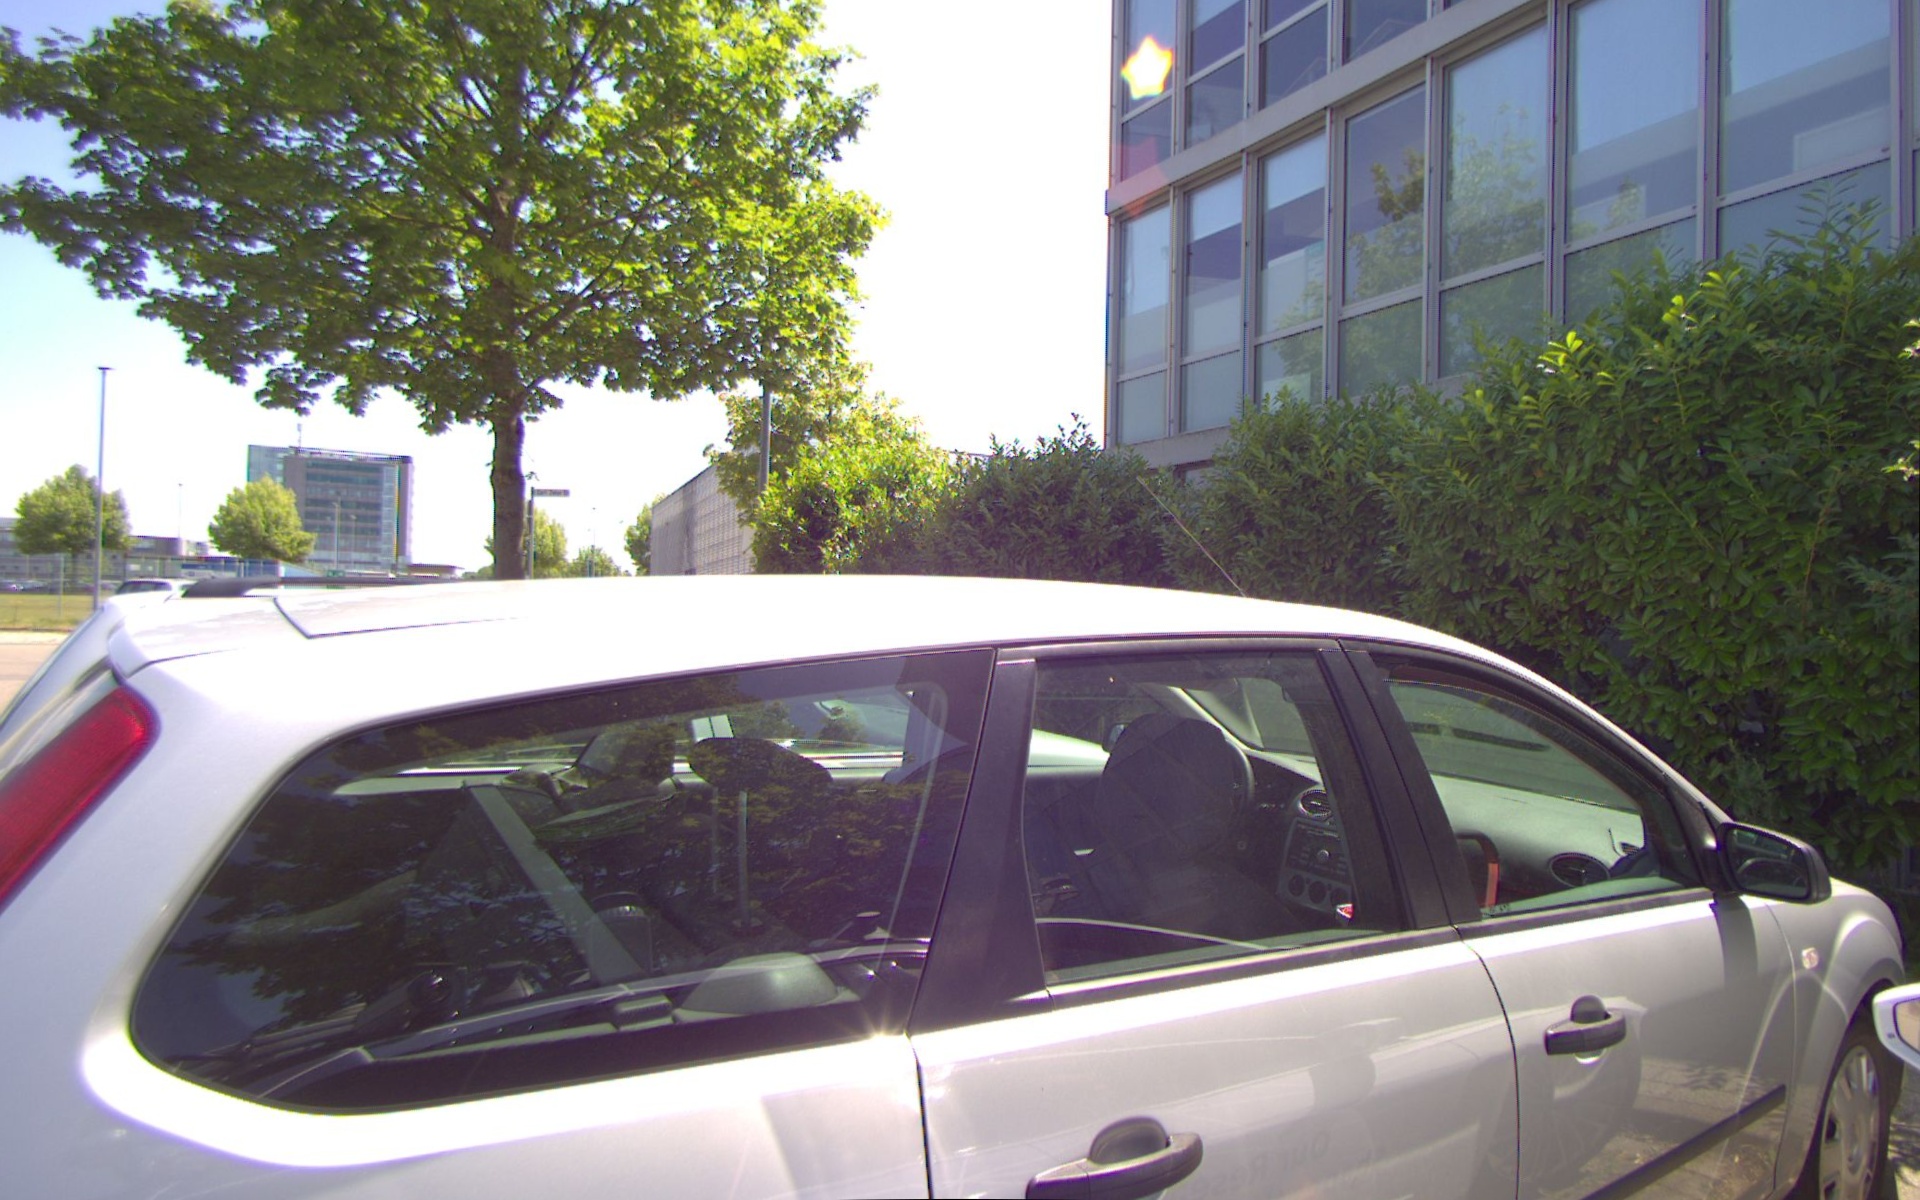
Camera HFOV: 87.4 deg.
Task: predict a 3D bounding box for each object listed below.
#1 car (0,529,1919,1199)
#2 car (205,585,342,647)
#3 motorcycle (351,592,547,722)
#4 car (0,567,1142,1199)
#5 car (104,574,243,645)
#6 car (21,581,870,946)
[{"bbox_3d":[0.346,0.737,2.127,4.299,1.499,1.710,1,0,-31],"label":"car"},{"bbox_3d":[-18.731,0.408,27.623,1.624,1.542,3.991,1,0,-11],"label":"car"},{"bbox_3d":[-5.869,0.628,11.604,1.969,1.408,0.480,1,0,-34],"label":"motorcycle"},{"bbox_3d":[-1.304,0.702,3.746,3.851,1.499,1.637,1,0,-34],"label":"car"},{"bbox_3d":[-21.152,0.237,27.209,1.745,1.761,3.982,1,0,-20],"label":"car"},{"bbox_3d":[-2.610,0.693,5.803,3.851,1.468,1.637,1,0,-34],"label":"car"}]
